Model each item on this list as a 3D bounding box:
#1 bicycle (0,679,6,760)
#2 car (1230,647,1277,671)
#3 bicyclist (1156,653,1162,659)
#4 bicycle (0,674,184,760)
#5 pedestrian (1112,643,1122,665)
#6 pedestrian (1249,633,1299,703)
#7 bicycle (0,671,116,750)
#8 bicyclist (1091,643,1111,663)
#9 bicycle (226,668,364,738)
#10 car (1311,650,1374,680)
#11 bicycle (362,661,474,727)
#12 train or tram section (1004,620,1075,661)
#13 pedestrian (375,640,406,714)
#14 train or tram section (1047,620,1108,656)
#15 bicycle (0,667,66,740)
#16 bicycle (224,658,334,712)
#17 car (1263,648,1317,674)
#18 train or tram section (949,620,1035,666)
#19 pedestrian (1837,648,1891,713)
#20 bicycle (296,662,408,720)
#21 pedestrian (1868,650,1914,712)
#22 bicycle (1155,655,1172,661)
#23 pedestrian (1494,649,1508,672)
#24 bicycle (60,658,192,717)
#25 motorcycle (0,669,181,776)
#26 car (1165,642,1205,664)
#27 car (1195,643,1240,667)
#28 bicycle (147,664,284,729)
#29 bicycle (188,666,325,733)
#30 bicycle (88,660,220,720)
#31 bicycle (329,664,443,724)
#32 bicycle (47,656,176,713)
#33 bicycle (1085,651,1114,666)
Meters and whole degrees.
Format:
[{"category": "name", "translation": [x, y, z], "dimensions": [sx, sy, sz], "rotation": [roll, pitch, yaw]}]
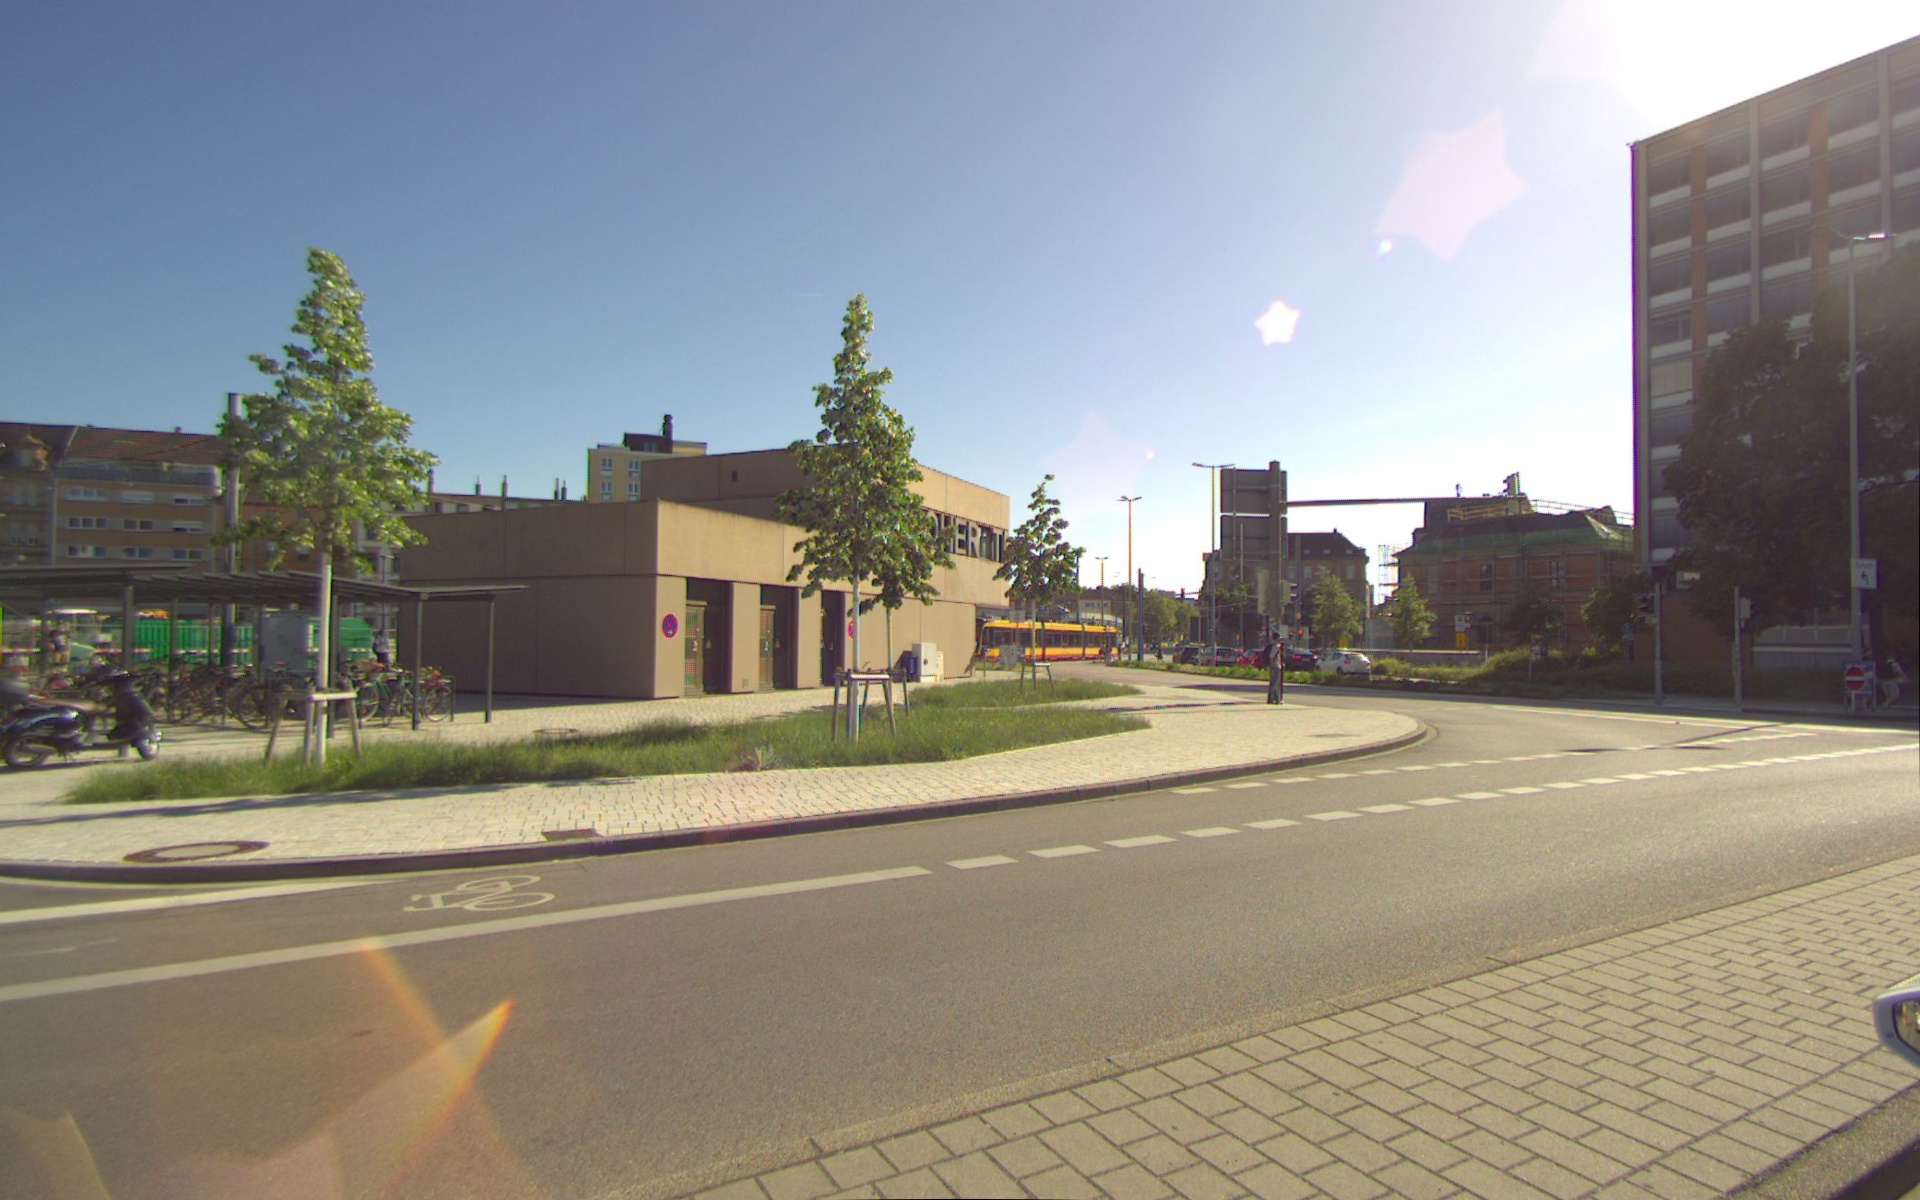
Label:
[{"category": "bicycle", "translation": [-12.749, 1.486, 11.998], "dimensions": [0.449, 1.022, 1.902], "rotation": [0, -2, 26]}, {"category": "car", "translation": [20.204, 4.035, 69.246], "dimensions": [1.760, 1.528, 3.880], "rotation": [1, -2, -6]}, {"category": "bicyclist", "translation": [16.933, 4.755, 85.428], "dimensions": [0.560, 0.556, 0.431], "rotation": [0, -2, 11]}, {"category": "bicycle", "translation": [-11.818, 1.557, 13.719], "dimensions": [0.449, 1.022, 1.902], "rotation": [0, -2, 26]}, {"category": "pedestrian", "translation": [12.841, 4.393, 81.972], "dimensions": [0.761, 1.786, 0.706], "rotation": [0, -2, 14]}, {"category": "pedestrian", "translation": [7.936, 1.707, 25.386], "dimensions": [1.044, 1.753, 0.652], "rotation": [1, -2, -16]}, {"category": "bicycle", "translation": [-13.033, 1.538, 14.010], "dimensions": [0.449, 1.022, 1.902], "rotation": [0, -2, 26]}, {"category": "bicyclist", "translation": [11.909, 4.478, 85.100], "dimensions": [1.544, 1.655, 0.810], "rotation": [2, 0, 16]}, {"category": "bicycle", "translation": [-10.914, 1.664, 16.565], "dimensions": [0.449, 1.022, 1.902], "rotation": [0, -2, 26]}, {"category": "car", "translation": [21.247, 3.596, 55.930], "dimensions": [1.760, 1.528, 3.880], "rotation": [1, -2, -6]}, {"category": "bicycle", "translation": [-9.931, 1.698, 18.485], "dimensions": [0.449, 1.112, 1.902], "rotation": [0, -2, 26]}, {"category": "train or tram section", "translation": [7.073, 3.385, 87.302], "dimensions": [2.650, 3.275, 10.593], "rotation": [2, 0, 25]}, {"category": "pedestrian", "translation": [-15.894, 2.134, 28.051], "dimensions": [0.710, 2.040, 0.682], "rotation": [2, -3, -30]}, {"category": "train or tram section", "translation": [11.499, 3.567, 96.919], "dimensions": [2.650, 3.275, 10.593], "rotation": [2, 0, 25]}, {"category": "bicycle", "translation": [-14.162, 1.510, 14.441], "dimensions": [0.449, 1.022, 1.902], "rotation": [0, -2, 26]}, {"category": "bicycle", "translation": [-14.077, 1.730, 20.824], "dimensions": [0.449, 1.022, 1.902], "rotation": [0, -2, 26]}, {"category": "car", "translation": [20.574, 3.770, 62.786], "dimensions": [1.760, 1.528, 3.880], "rotation": [1, -2, -6]}, {"category": "train or tram section", "translation": [2.639, 3.203, 77.700], "dimensions": [2.650, 3.275, 10.593], "rotation": [2, 0, 25]}, {"category": "pedestrian", "translation": [26.778, 2.363, 29.763], "dimensions": [0.895, 1.887, 0.813], "rotation": [1, -2, -16]}, {"category": "bicycle", "translation": [-11.801, 1.745, 19.572], "dimensions": [0.449, 1.022, 1.902], "rotation": [0, -2, 26]}, {"category": "pedestrian", "translation": [26.735, 2.314, 28.856], "dimensions": [0.748, 1.753, 0.680], "rotation": [1, -2, -16]}, {"category": "bicycle", "translation": [17.304, 4.926, 85.348], "dimensions": [1.381, 0.556, 0.435], "rotation": [0, -2, 11]}, {"category": "pedestrian", "translation": [41.281, 4.601, 76.631], "dimensions": [0.754, 1.753, 0.675], "rotation": [2, -2, -39]}, {"category": "bicycle", "translation": [-15.921, 1.645, 19.235], "dimensions": [0.449, 1.022, 1.902], "rotation": [0, -2, 26]}, {"category": "motorcycle", "translation": [-10.924, 1.477, 12.465], "dimensions": [0.508, 1.166, 1.947], "rotation": [0, -2, 25]}, {"category": "car", "translation": [16.775, 3.932, 74.993], "dimensions": [1.760, 1.528, 3.880], "rotation": [1, -2, -6]}, {"category": "car", "translation": [17.456, 3.697, 68.267], "dimensions": [1.760, 1.528, 3.880], "rotation": [1, -2, -6]}, {"category": "bicycle", "translation": [-12.902, 1.650, 17.485], "dimensions": [0.449, 1.022, 1.902], "rotation": [0, -2, 26]}, {"category": "bicycle", "translation": [-11.893, 1.654, 17.054], "dimensions": [0.449, 1.022, 1.902], "rotation": [0, -2, 26]}, {"category": "bicycle", "translation": [-15.085, 1.657, 18.860], "dimensions": [0.449, 1.022, 1.902], "rotation": [0, -2, 26]}, {"category": "bicycle", "translation": [-10.711, 1.736, 18.814], "dimensions": [0.449, 1.022, 1.902], "rotation": [0, -2, 26]}, {"category": "bicycle", "translation": [-16.704, 1.640, 19.833], "dimensions": [0.449, 1.022, 1.902], "rotation": [0, -2, 26]}, {"category": "bicycle", "translation": [11.825, 4.943, 85.109], "dimensions": [2.370, 1.076, 0.811], "rotation": [2, 0, 15]}]
